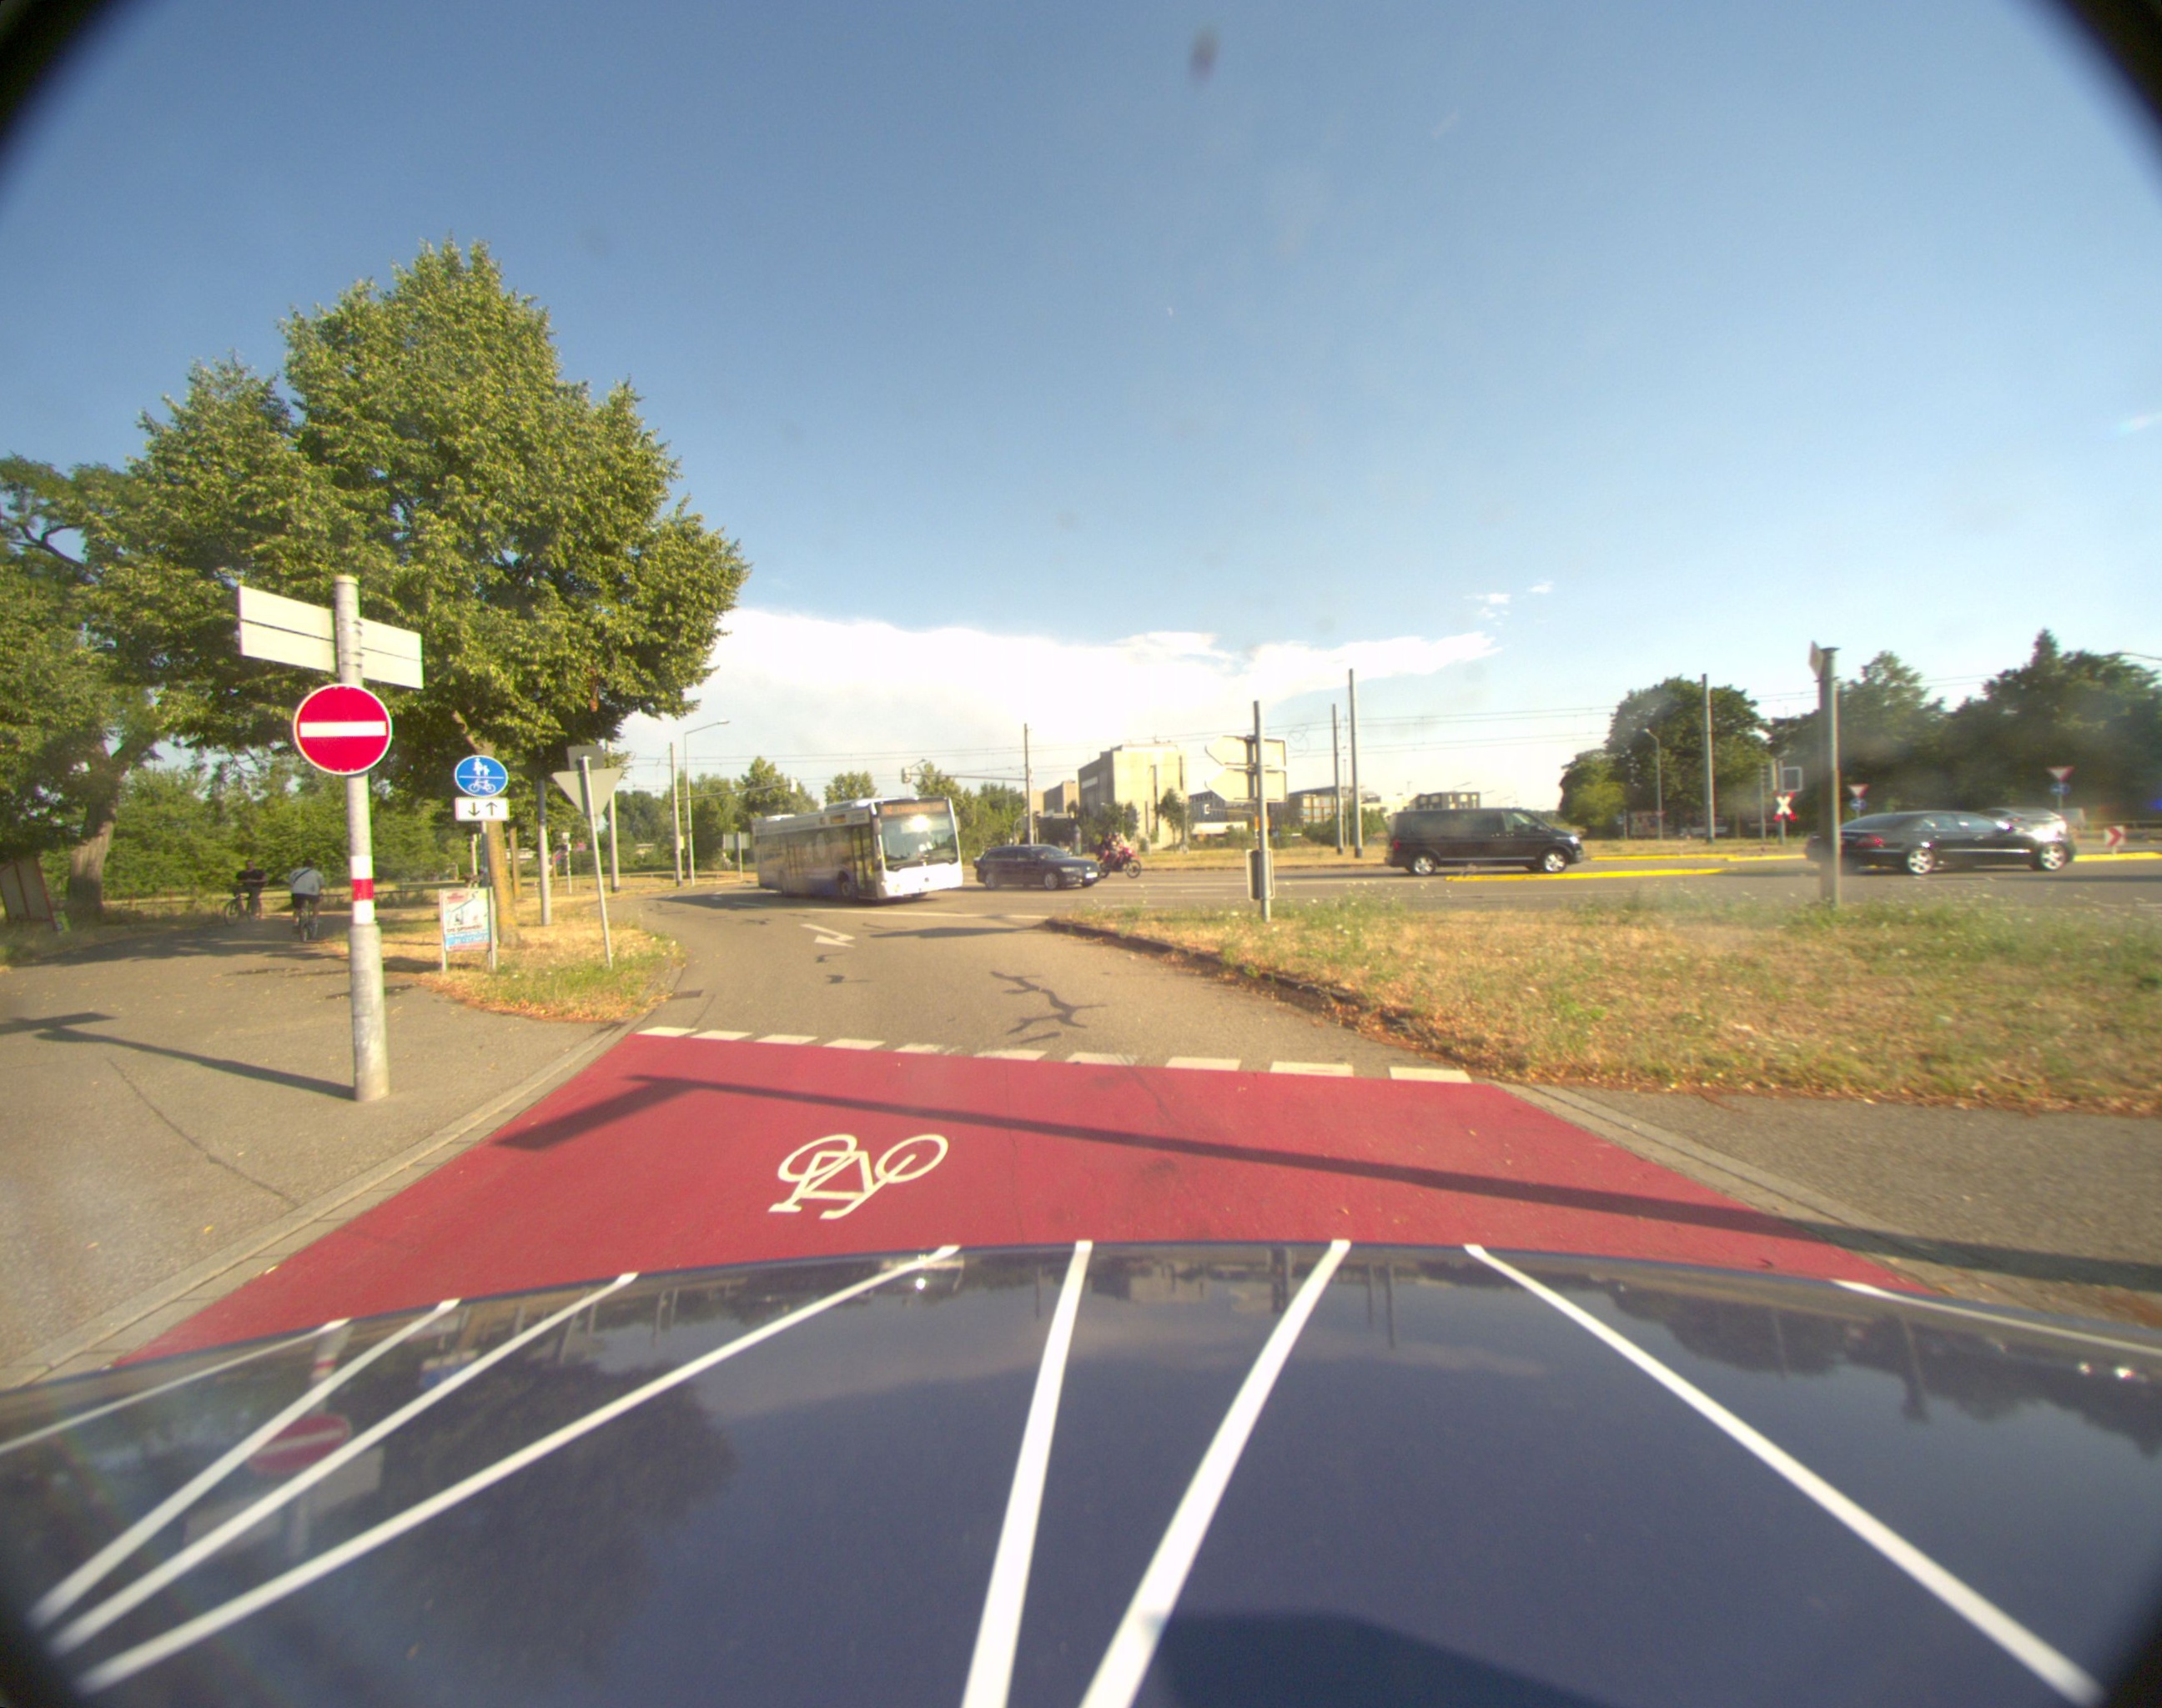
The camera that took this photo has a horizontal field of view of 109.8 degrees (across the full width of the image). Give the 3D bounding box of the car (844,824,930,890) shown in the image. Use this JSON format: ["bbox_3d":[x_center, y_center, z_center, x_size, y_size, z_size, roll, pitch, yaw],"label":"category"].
[{"bbox_3d":[-8.595,0.209,33.227,2.003,2.578,5.474,-3,0,-31],"label":"car"}]

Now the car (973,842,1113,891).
[{"bbox_3d":[-1.298,0.418,24.634,4.375,1.428,1.814,-2,1,40],"label":"car"}]

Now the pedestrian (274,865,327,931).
[{"bbox_3d":[-17.015,0.939,16.577,0.654,1.383,0.765,-1,1,-36],"label":"pedestrian"}]

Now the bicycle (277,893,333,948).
[{"bbox_3d":[-17.087,1.435,16.758,0.535,1.049,1.908,-3,2,-37],"label":"bicycle"}]

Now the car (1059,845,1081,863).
[{"bbox_3d":[-1.068,-0.014,75.830,1.998,1.630,3.999,-2,1,1],"label":"car"}]

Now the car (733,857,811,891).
[{"bbox_3d":[-15.845,0.983,39.218,1.997,1.515,4.001,-2,1,6],"label":"car"}]

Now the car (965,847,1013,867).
[{"bbox_3d":[-7.452,0.227,62.057,2.090,1.376,4.595,-2,1,19],"label":"car"}]

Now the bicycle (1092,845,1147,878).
[{"bbox_3d":[1.435,0.287,28.715,0.822,1.177,2.026,-3,1,-43],"label":"bicycle"}]

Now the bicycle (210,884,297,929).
[{"bbox_3d":[-24.021,1.490,22.115,0.641,1.116,2.122,-3,1,-15],"label":"bicycle"}]

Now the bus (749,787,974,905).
[{"bbox_3d":[-7.849,-0.181,25.206,2.671,3.044,12.146,-3,1,-38],"label":"bus"}]

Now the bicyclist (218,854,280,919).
[{"bbox_3d":[-24.005,0.919,21.943,0.728,1.790,0.937,-3,1,-14],"label":"bicyclist"}]

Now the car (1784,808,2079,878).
[{"bbox_3d":[19.600,-0.254,17.682,4.696,1.398,1.843,-2,1,2],"label":"car"}]

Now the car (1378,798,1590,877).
[{"bbox_3d":[11.746,-0.457,22.606,5.234,2.035,2.097,-2,1,17],"label":"car"}]

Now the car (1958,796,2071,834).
[{"bbox_3d":[42.959,-1.783,35.093,1.995,1.566,4.007,-2,1,30],"label":"car"}]

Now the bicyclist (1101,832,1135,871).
[{"bbox_3d":[1.395,-0.095,28.668,0.885,1.377,0.770,-7,4,-41],"label":"bicyclist"}]
